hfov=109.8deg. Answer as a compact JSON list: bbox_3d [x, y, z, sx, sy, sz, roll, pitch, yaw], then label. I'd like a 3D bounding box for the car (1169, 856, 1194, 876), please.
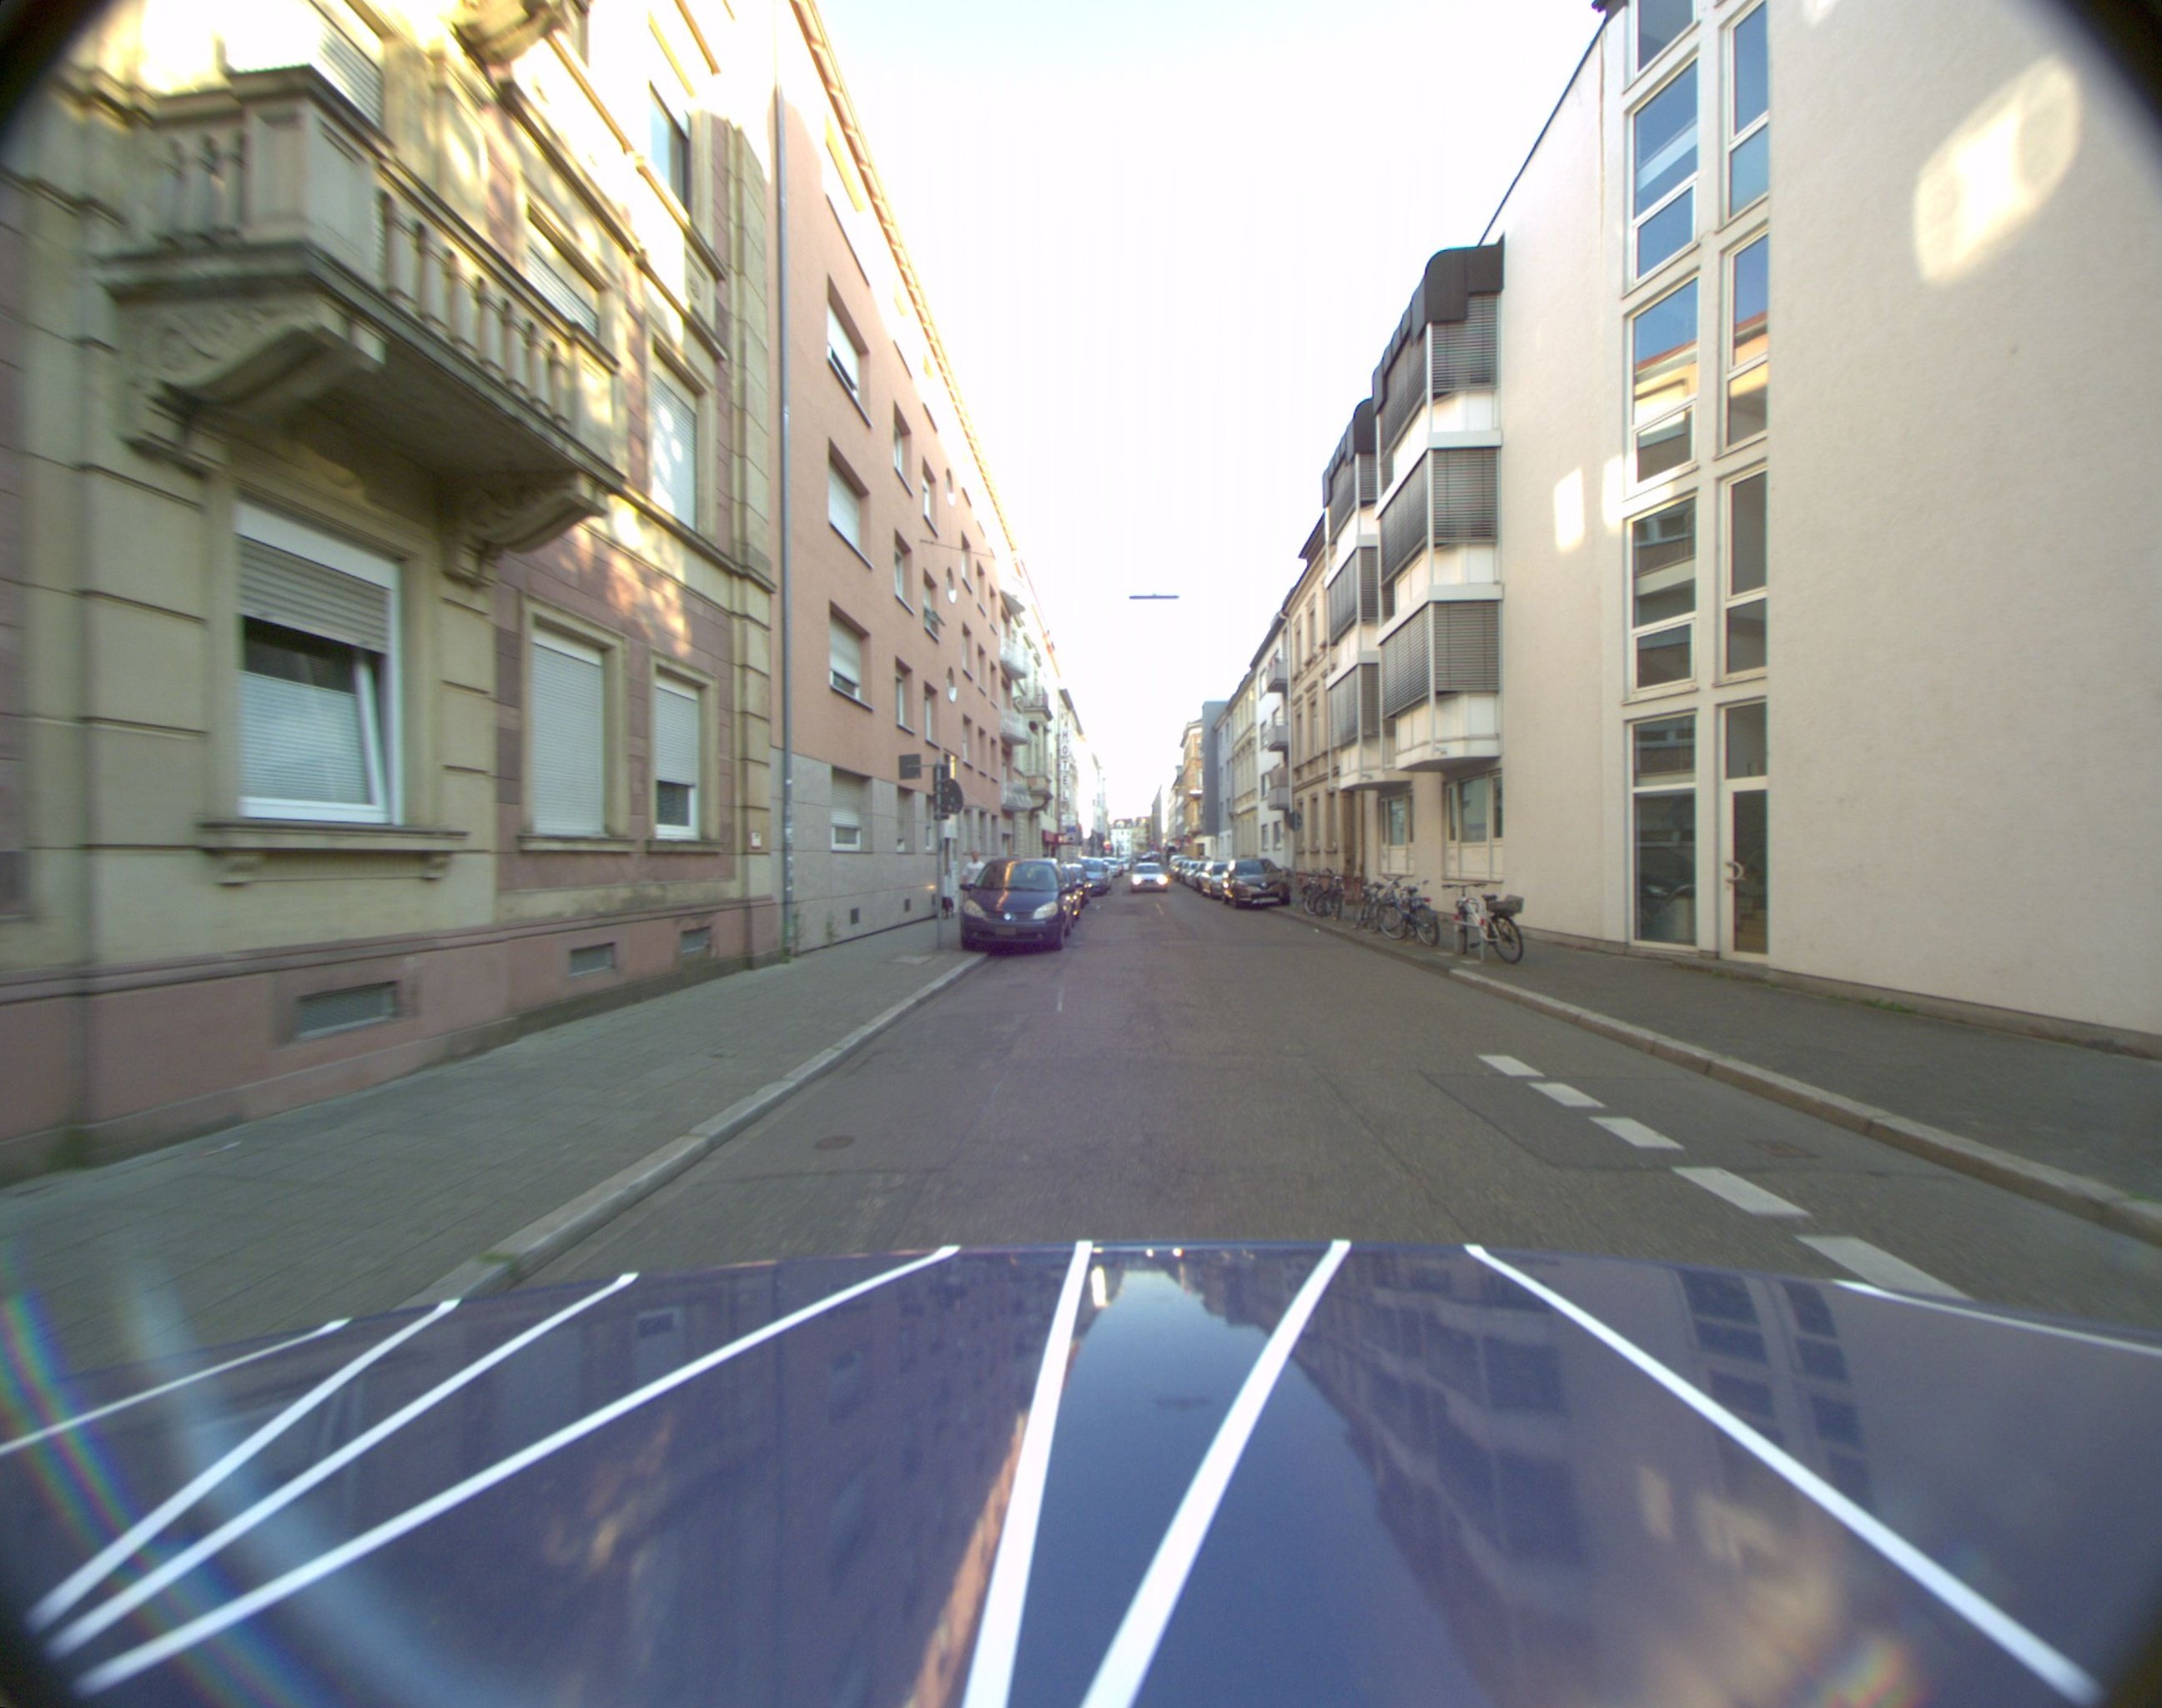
[{"bbox_3d":[8.046,0.941,61.220,1.642,1.571,3.784,-1,0,2],"label":"car"}]

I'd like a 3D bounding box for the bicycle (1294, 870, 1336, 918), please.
[{"bbox_3d":[6.263,1.051,20.462,0.597,1.180,2.266,-1,0,5],"label":"bicycle"}]

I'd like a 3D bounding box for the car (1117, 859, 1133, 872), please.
[{"bbox_3d":[5.114,1.357,88.645,1.729,1.390,3.894,-1,0,5],"label":"car"}]

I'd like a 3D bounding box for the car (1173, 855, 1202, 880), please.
[{"bbox_3d":[7.618,0.917,54.403,1.642,1.701,3.784,-1,0,2],"label":"car"}]

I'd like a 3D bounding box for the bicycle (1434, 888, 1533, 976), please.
[{"bbox_3d":[5.799,1.080,11.057,0.401,1.096,1.813,-1,0,-2],"label":"bicycle"}]

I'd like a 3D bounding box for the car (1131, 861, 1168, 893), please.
[{"bbox_3d":[3.394,1.104,38.003,1.680,1.395,4.473,-2,0,4],"label":"car"}]

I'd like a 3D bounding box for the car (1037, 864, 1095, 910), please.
[{"bbox_3d":[-0.453,1.117,26.964,1.693,1.449,4.133,-1,0,4],"label":"car"}]

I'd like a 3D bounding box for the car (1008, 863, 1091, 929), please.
[{"bbox_3d":[-0.728,1.035,20.164,1.693,1.505,4.284,-1,0,4],"label":"car"}]

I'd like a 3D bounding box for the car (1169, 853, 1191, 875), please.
[{"bbox_3d":[8.694,0.864,66.847,1.641,1.786,3.785,-1,0,4],"label":"car"}]

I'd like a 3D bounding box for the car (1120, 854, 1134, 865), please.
[{"bbox_3d":[6.017,0.741,99.421,1.729,1.390,3.894,-1,0,5],"label":"car"}]

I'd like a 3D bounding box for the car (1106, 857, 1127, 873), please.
[{"bbox_3d":[3.404,1.041,71.674,1.729,1.469,3.978,-1,0,5],"label":"car"}]

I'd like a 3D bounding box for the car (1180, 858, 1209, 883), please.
[{"bbox_3d":[7.197,1.044,48.427,1.641,1.480,3.956,-1,0,6],"label":"car"}]

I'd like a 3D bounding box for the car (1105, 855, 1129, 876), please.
[{"bbox_3d":[3.204,0.993,66.553,1.841,1.685,4.360,4,0,5],"label":"car"}]

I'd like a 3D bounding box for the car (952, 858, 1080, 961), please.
[{"bbox_3d":[-1.046,0.909,14.150,1.693,1.615,4.056,-1,0,5],"label":"car"}]

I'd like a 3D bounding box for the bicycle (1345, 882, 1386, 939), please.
[{"bbox_3d":[5.807,1.128,15.570,0.307,1.036,1.814,-1,0,5],"label":"bicycle"}]

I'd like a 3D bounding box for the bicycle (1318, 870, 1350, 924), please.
[{"bbox_3d":[6.093,1.009,18.366,0.307,1.215,1.814,-1,0,5],"label":"bicycle"}]

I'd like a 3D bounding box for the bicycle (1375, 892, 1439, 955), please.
[{"bbox_3d":[5.608,1.168,13.157,0.307,0.926,1.813,-1,0,0],"label":"bicycle"}]

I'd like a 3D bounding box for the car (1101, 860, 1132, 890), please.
[{"bbox_3d":[1.995,1.116,41.495,1.573,1.569,3.591,-1,0,4],"label":"car"}]

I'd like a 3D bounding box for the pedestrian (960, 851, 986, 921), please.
[{"bbox_3d":[-2.726,0.809,19.201,0.550,1.733,0.568,0,0,3],"label":"pedestrian"}]

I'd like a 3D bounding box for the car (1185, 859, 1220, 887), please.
[{"bbox_3d":[6.891,1.044,43.478,1.642,1.480,3.790,-1,0,4],"label":"car"}]

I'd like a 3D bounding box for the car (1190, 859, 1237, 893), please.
[{"bbox_3d":[6.401,1.010,37.162,1.794,1.530,4.495,-1,0,4],"label":"car"}]

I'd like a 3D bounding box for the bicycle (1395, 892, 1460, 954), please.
[{"bbox_3d":[5.961,1.155,13.160,0.307,0.926,1.813,-1,0,1],"label":"bicycle"}]

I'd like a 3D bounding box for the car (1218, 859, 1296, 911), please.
[{"bbox_3d":[5.772,0.959,25.358,1.795,1.567,4.071,-1,0,2],"label":"car"}]

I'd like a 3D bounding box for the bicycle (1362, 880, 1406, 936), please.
[{"bbox_3d":[6.189,1.079,15.585,0.307,1.036,1.814,-1,0,5],"label":"bicycle"}]

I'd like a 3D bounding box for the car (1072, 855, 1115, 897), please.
[{"bbox_3d":[0.634,0.952,34.451,1.693,1.731,4.111,-1,0,4],"label":"car"}]

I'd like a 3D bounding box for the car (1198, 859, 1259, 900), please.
[{"bbox_3d":[5.996,1.005,31.298,1.795,1.530,4.435,-1,0,2],"label":"car"}]
